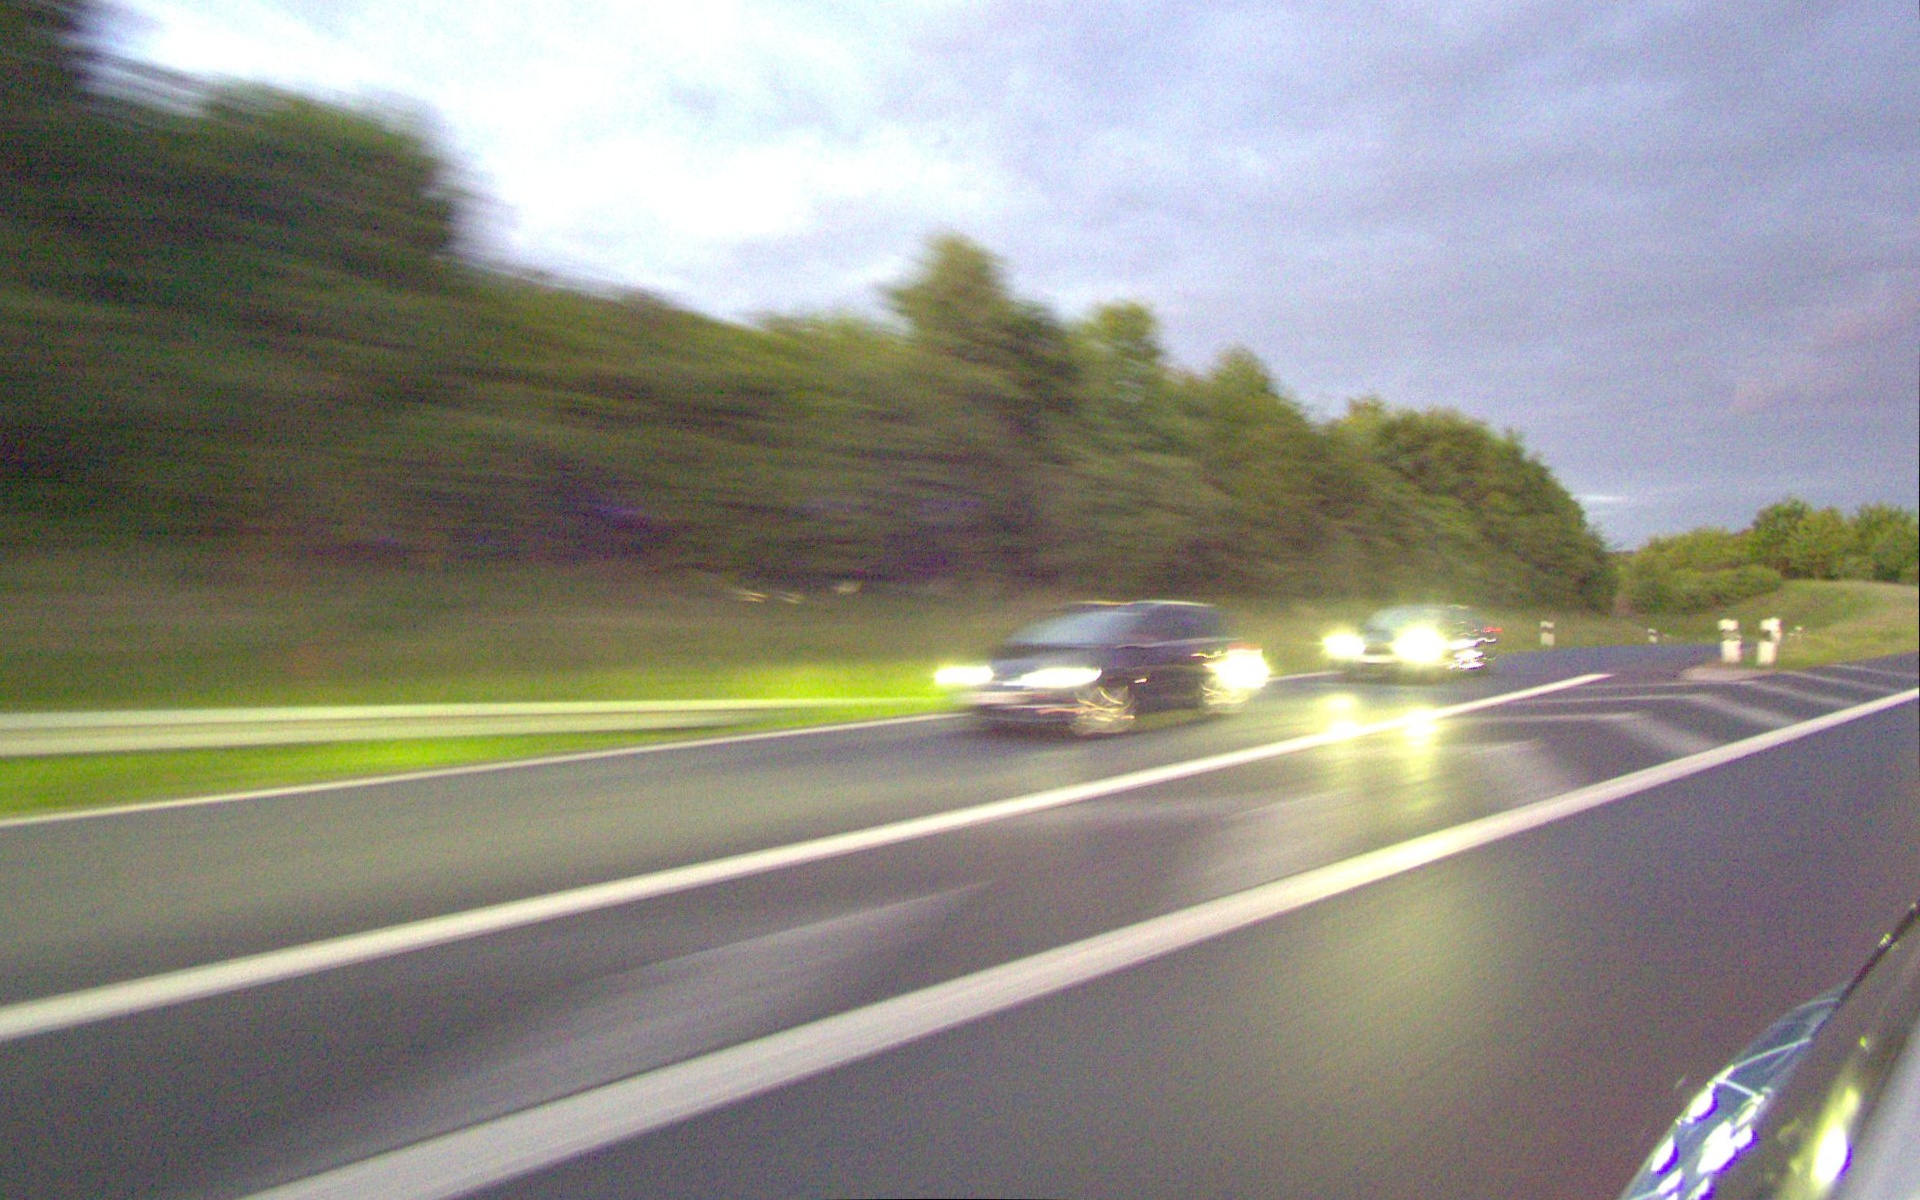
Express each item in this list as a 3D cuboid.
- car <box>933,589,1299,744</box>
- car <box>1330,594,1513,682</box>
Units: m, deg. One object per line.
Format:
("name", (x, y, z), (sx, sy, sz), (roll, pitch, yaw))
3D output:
("car", (2.108, 0.675, 12.363), (1.798, 1.511, 5.035), (-4, -2, 44))
("car", (9.028, 0.679, 19.623), (1.798, 1.511, 4.364), (-4, -2, 44))
